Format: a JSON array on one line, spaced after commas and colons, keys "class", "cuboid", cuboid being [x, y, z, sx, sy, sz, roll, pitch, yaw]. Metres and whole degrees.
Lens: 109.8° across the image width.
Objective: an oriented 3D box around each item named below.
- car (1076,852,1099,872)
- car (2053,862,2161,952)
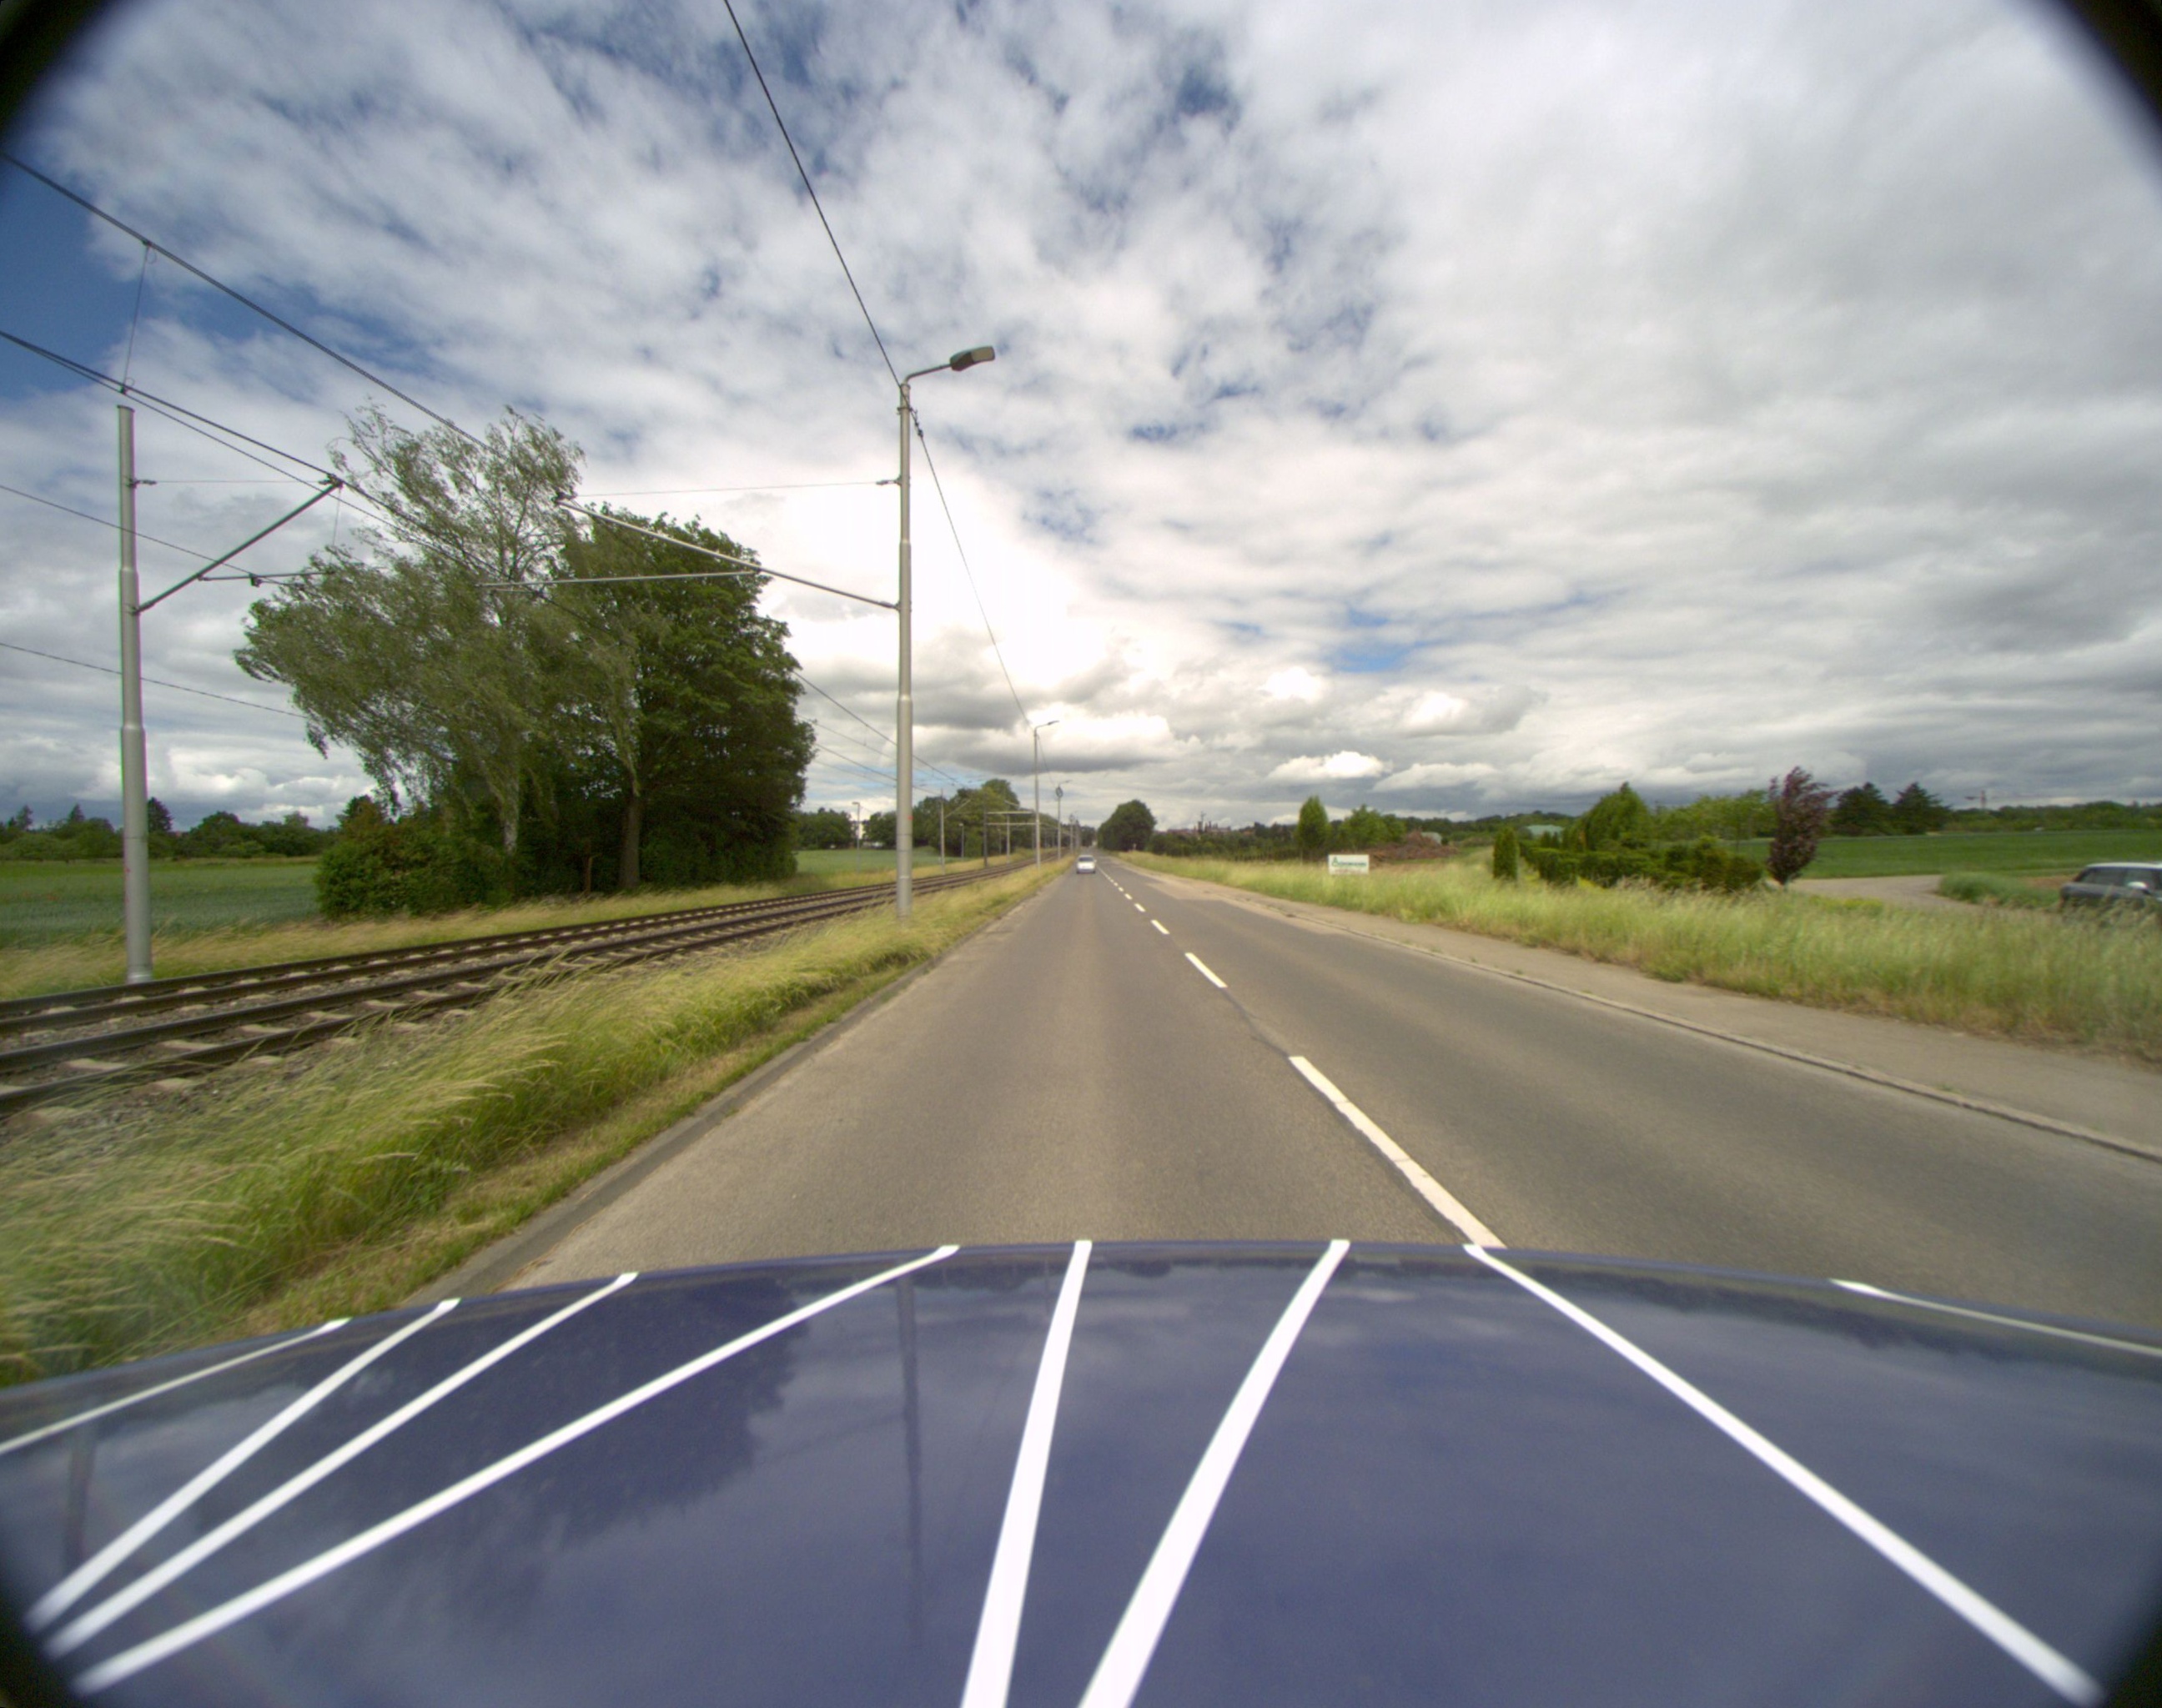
[{"class": "car", "cuboid": [0.555, 0.654, 68.434, 1.999, 1.679, 3.999, -1, 1, -1]}, {"class": "car", "cuboid": [19.687, 0.925, 13.206, 1.970, 1.445, 4.007, 0, 1, 28]}]
